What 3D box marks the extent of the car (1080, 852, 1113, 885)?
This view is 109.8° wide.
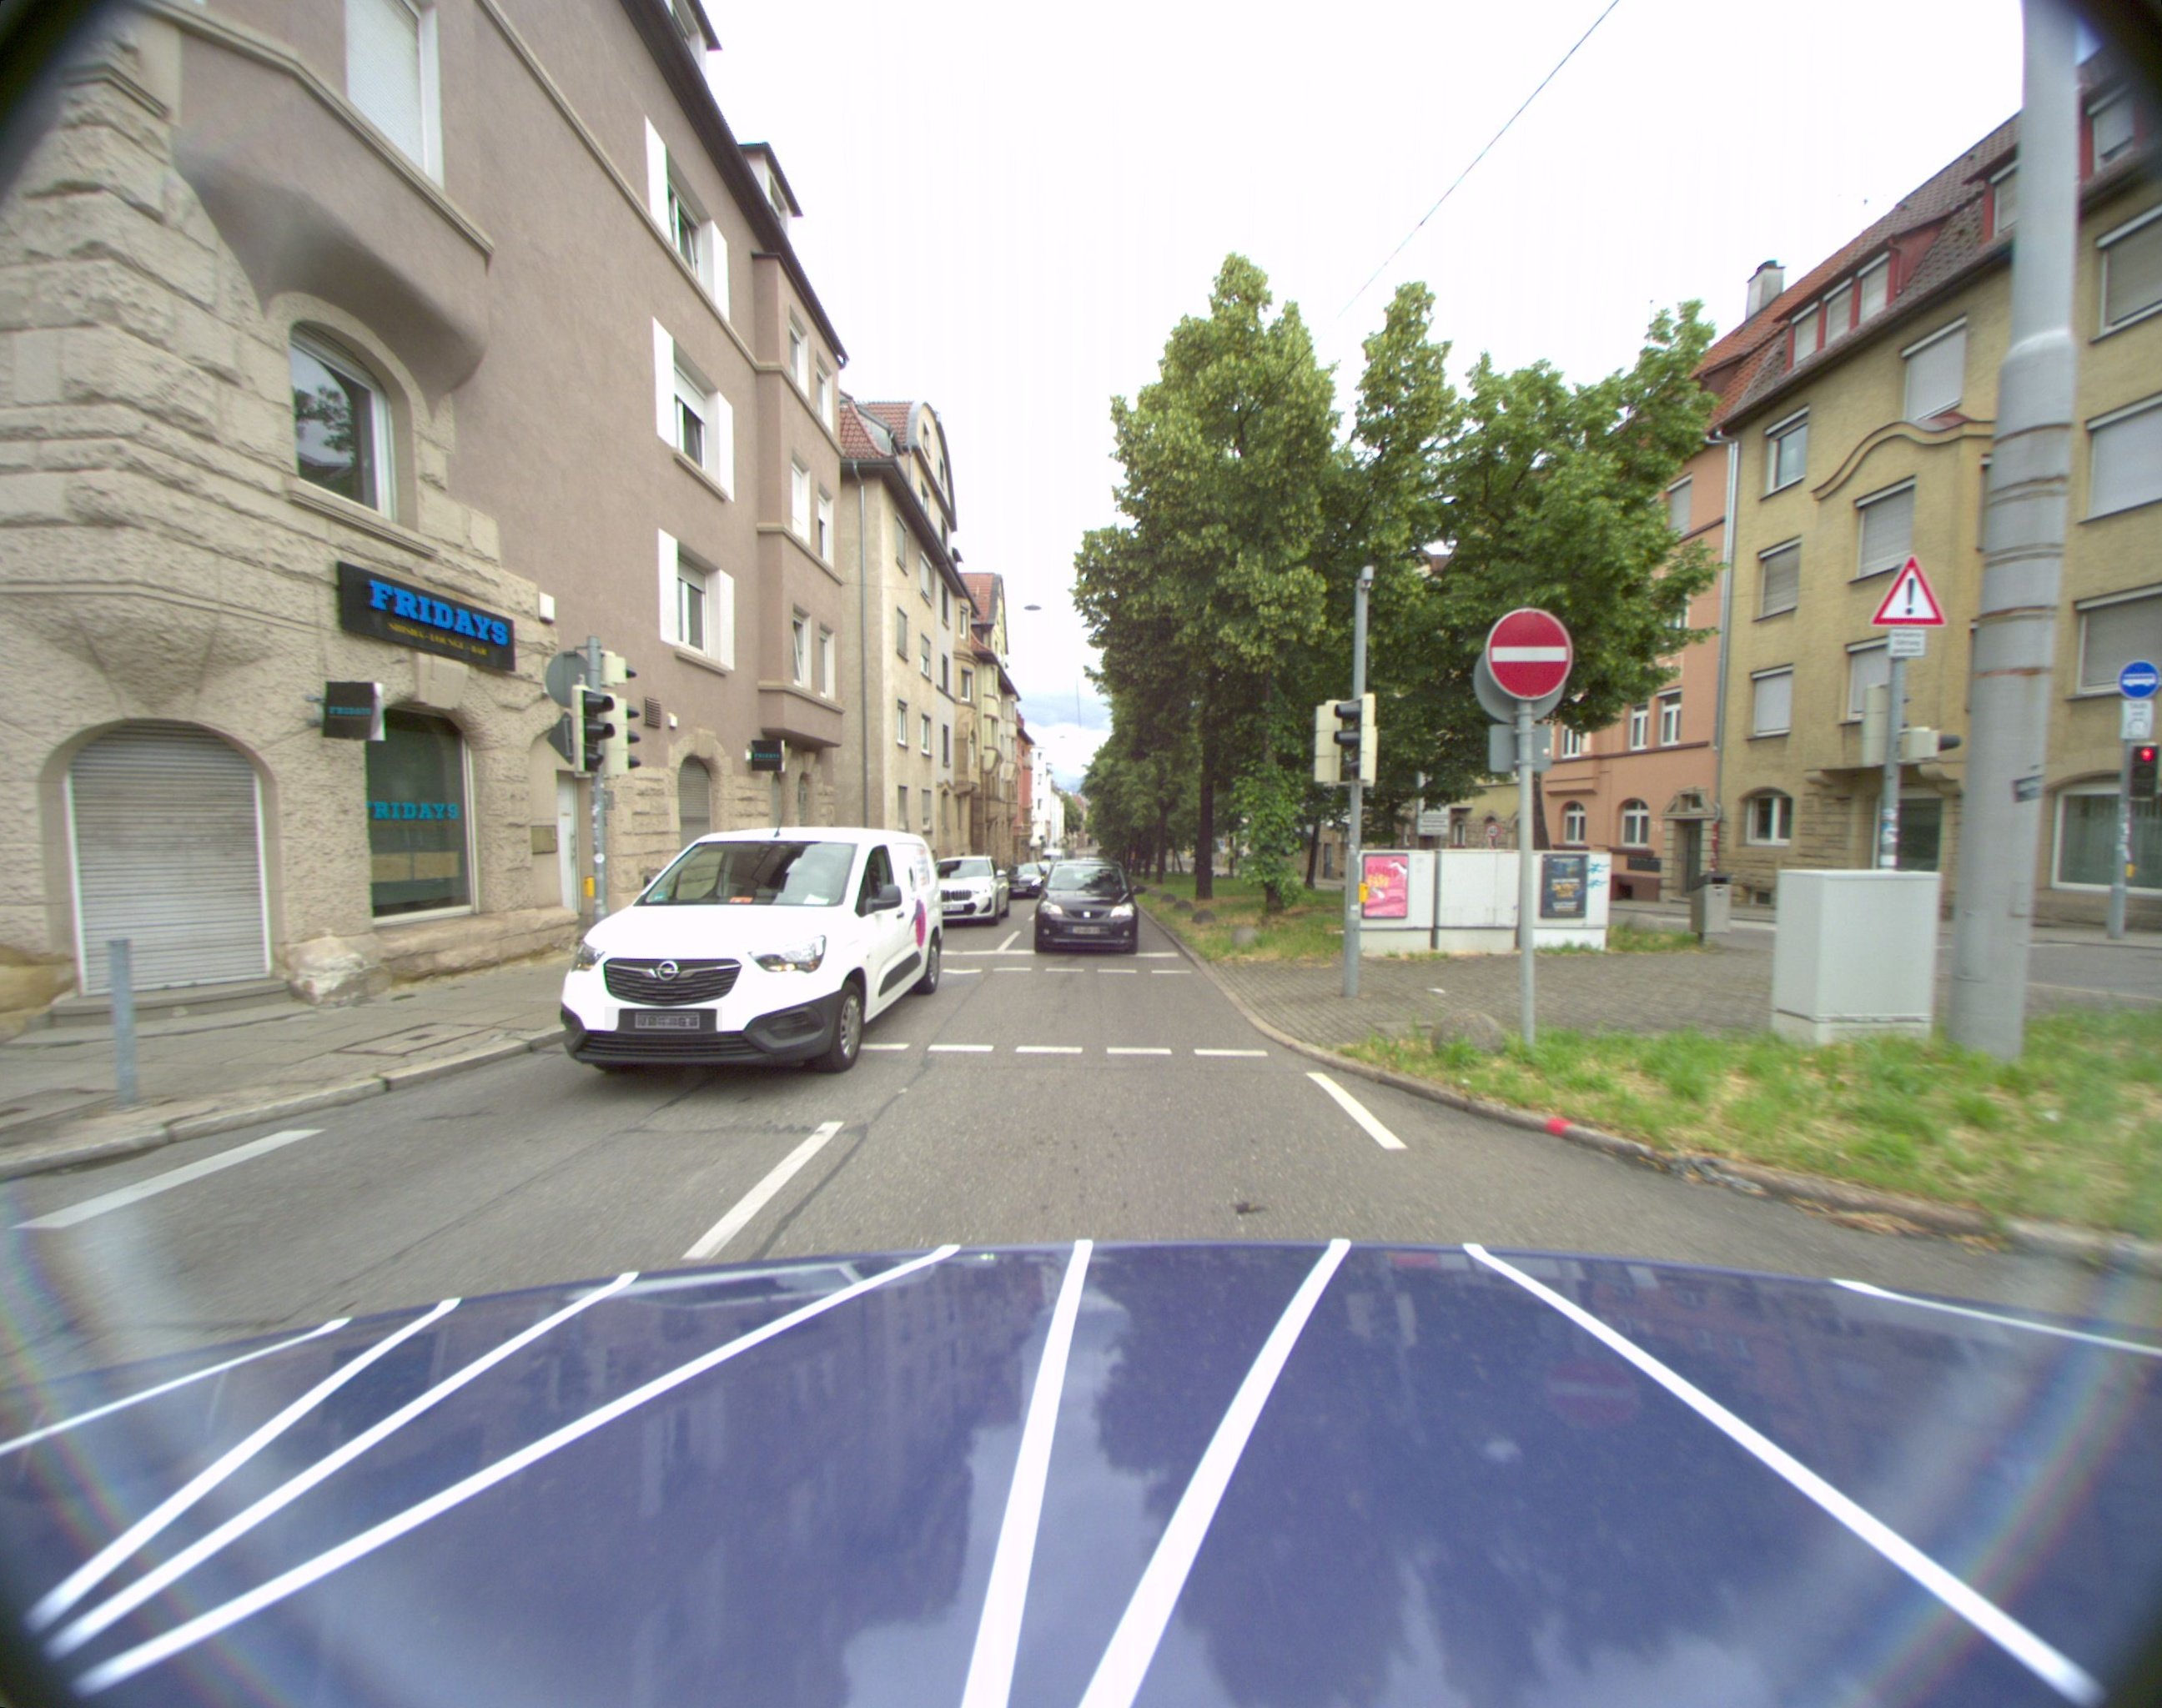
[{"bbox_3d":[0.843,0.767,42.599,1.696,1.584,3.532,2,2,0],"label":"car"}]

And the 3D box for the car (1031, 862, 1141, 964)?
[{"bbox_3d":[0.084,0.893,13.114,1.604,1.448,3.684,1,0,0],"label":"car"}]

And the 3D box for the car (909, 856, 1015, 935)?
[{"bbox_3d":[-2.709,0.891,18.180,1.780,1.598,4.163,-2,0,0],"label":"car"}]

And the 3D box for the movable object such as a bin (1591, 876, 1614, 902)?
[{"bbox_3d":[18.014,1.205,26.244,0.487,0.860,0.449,1,1,6],"label":"movable object such as a bin"}]

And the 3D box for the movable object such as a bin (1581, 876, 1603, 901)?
[{"bbox_3d":[18.065,1.202,26.853,0.487,0.860,0.449,1,1,6],"label":"movable object such as a bin"}]

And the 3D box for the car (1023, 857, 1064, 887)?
[{"bbox_3d":[-1.979,0.924,41.378,1.841,1.477,4.001,1,0,3],"label":"car"}]

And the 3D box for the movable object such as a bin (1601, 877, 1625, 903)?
[{"bbox_3d":[17.908,1.208,25.573,0.487,0.860,0.449,1,1,6],"label":"movable object such as a bin"}]

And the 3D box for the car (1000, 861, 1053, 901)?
[{"bbox_3d":[-2.145,1.047,31.000,1.780,1.433,4.163,-2,0,0],"label":"car"}]

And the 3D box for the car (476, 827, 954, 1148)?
[{"bbox_3d":[-2.472,0.744,6.718,1.788,1.779,4.843,-1,0,1],"label":"car"}]

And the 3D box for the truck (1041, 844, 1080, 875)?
[{"bbox_3d":[-1.942,0.484,75.673,2.551,2.891,7.782,1,0,8],"label":"truck"}]

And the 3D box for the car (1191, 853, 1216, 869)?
[{"bbox_3d":[12.659,0.712,78.835,1.942,1.625,4.518,0,0,0],"label":"car"}]

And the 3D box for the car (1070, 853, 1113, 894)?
[{"bbox_3d":[0.411,0.840,34.217,1.784,1.584,3.532,2,2,-1],"label":"car"}]
